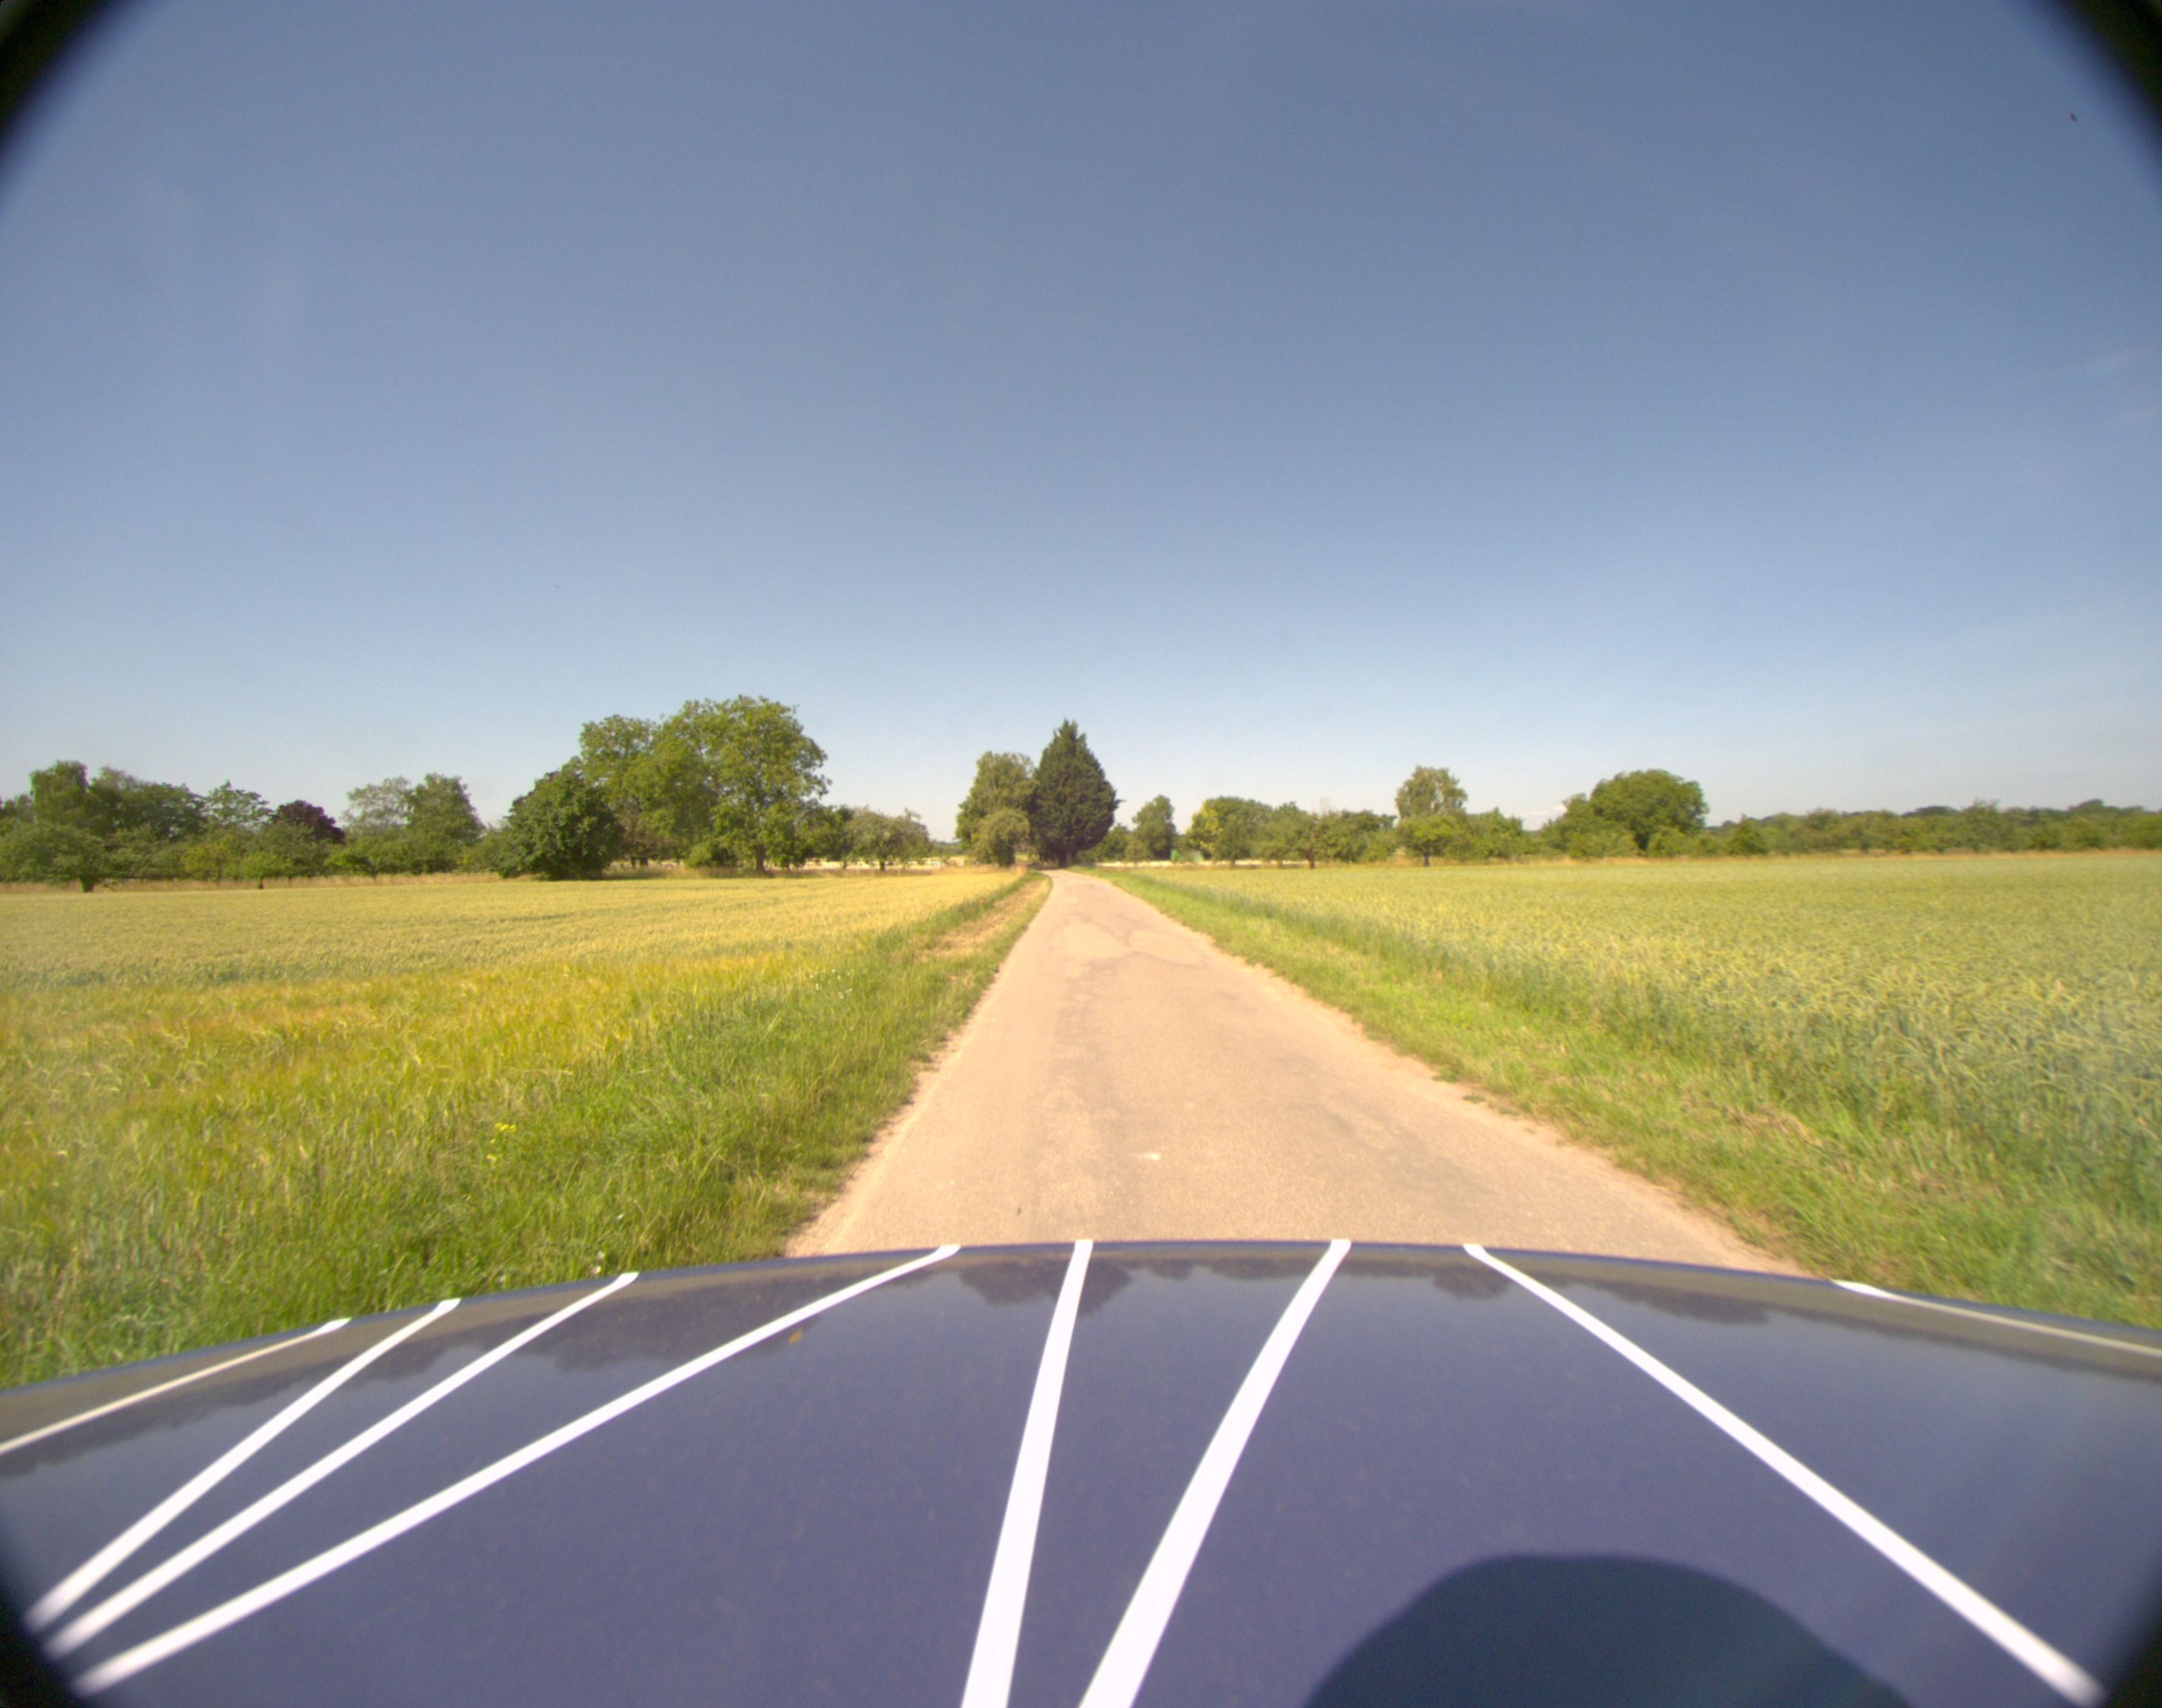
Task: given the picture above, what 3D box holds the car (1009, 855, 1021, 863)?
[{"bbox_3d":[-11.187,0.904,128.706,1.723,1.312,3.740,-1,0,-9],"label":"car"}]
